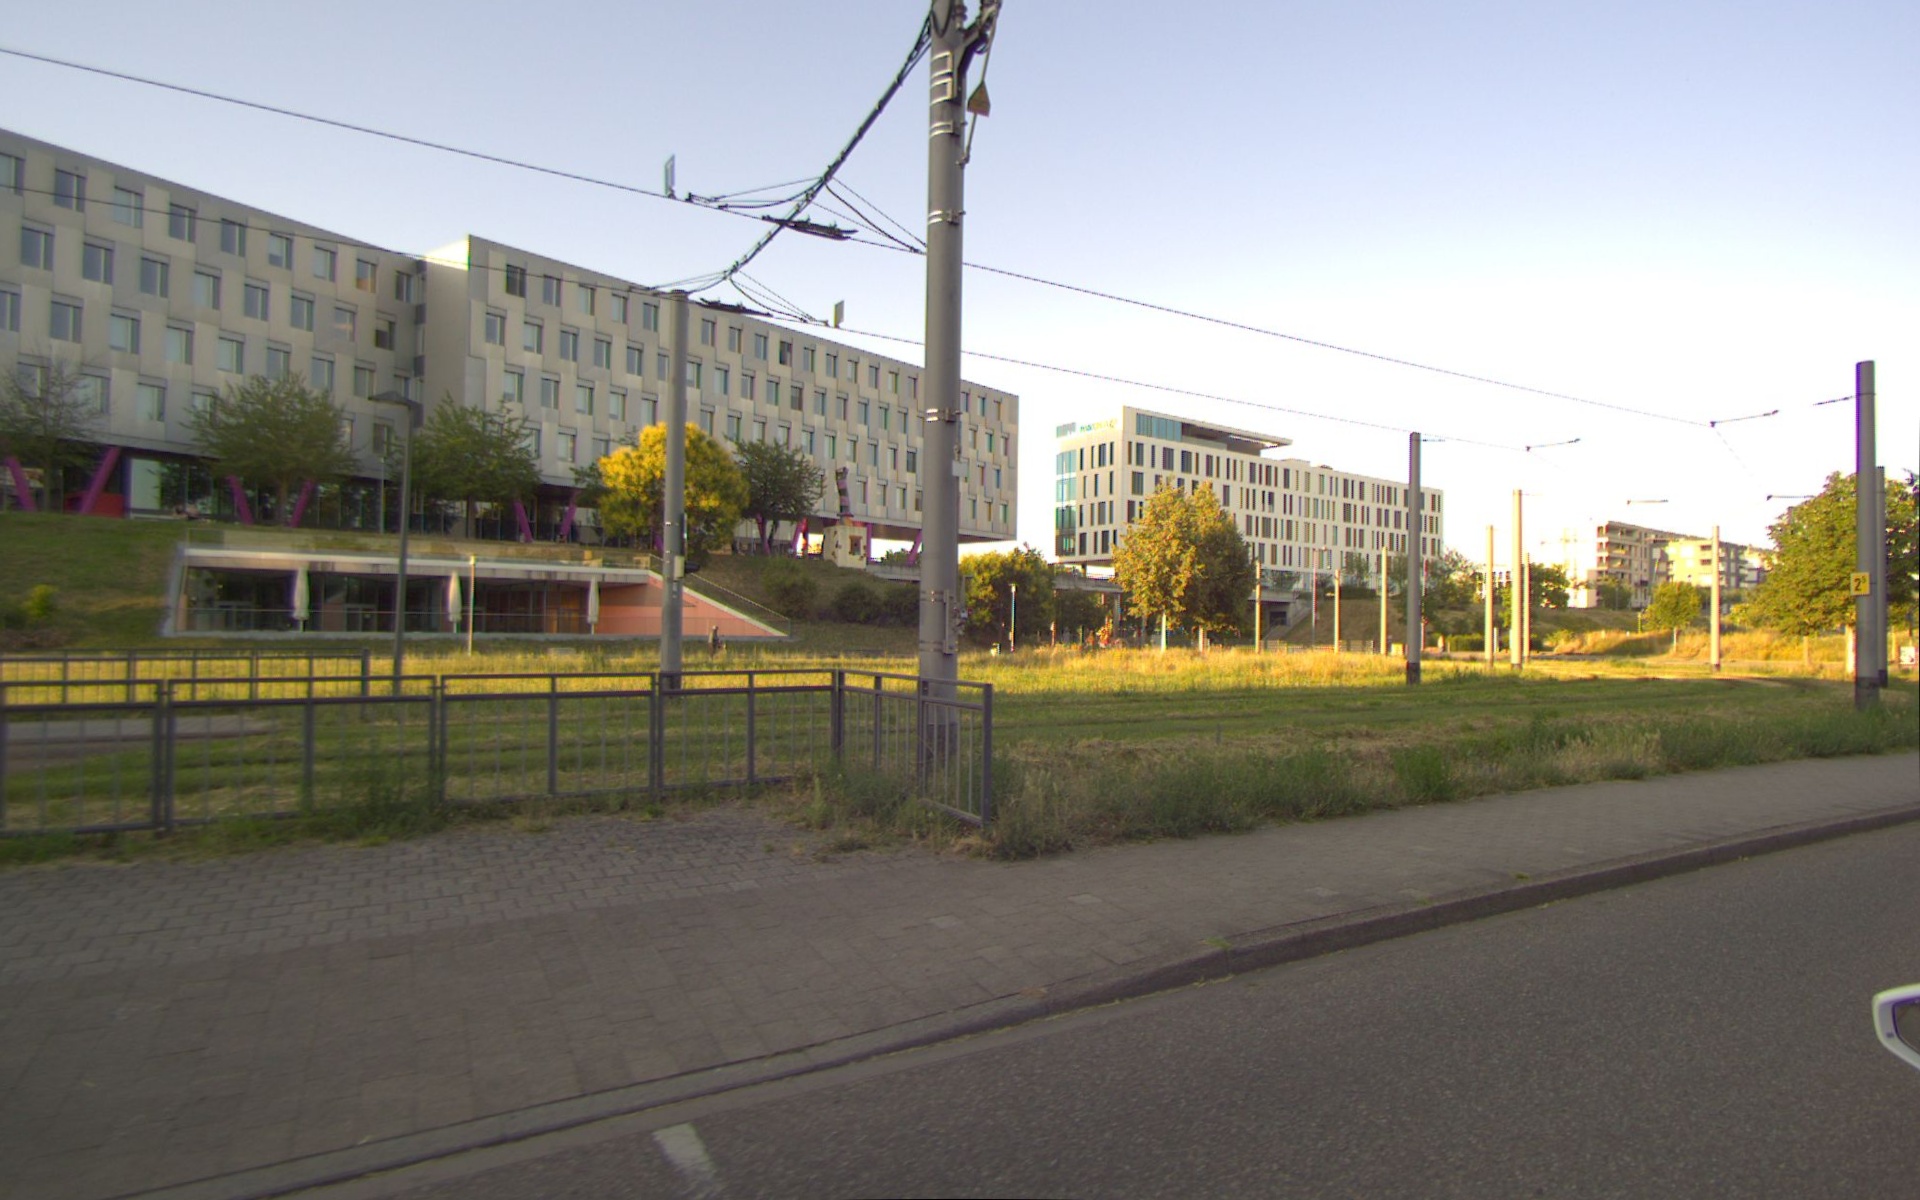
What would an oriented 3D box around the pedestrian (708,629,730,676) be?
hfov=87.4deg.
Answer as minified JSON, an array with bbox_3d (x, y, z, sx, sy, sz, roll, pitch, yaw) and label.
[{"bbox_3d":[-11.102,2.404,46.248,0.781,2.110,0.613,2,0,-31],"label":"pedestrian"}]

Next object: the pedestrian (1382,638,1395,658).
[{"bbox_3d":[39.725,4.455,93.217,0.803,1.809,0.784,2,-2,-27],"label":"pedestrian"}]
